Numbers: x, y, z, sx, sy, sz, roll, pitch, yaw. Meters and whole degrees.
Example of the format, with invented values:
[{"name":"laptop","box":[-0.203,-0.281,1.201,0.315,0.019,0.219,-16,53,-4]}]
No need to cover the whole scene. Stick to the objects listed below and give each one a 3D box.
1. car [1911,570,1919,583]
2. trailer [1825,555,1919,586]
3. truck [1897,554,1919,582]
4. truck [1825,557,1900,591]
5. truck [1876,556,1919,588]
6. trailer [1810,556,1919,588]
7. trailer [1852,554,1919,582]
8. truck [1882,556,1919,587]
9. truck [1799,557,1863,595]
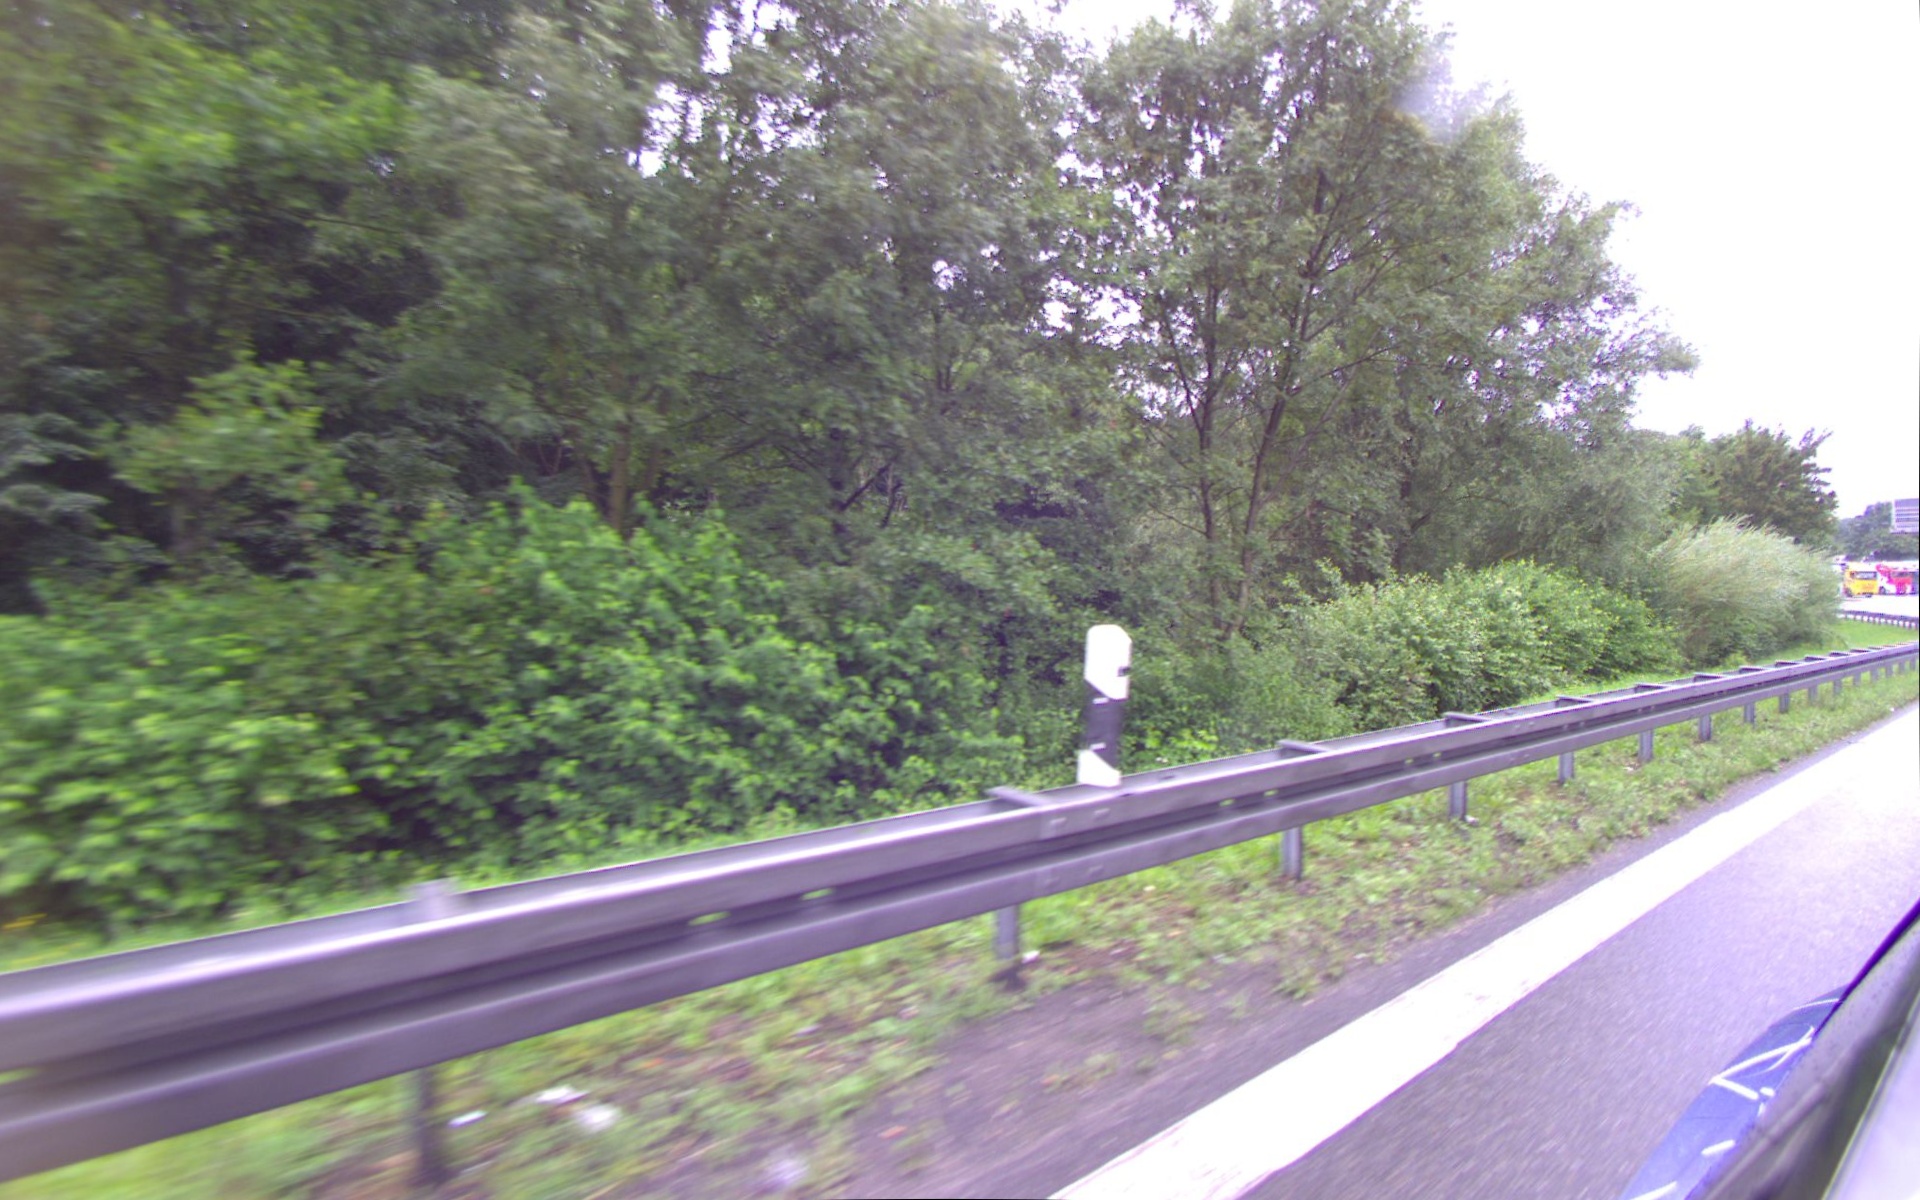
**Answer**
[{"name":"car","box":[136.250,-3.310,142.243,1.818,1.881,3.991,-1,1,9]},{"name":"trailer","box":[124.164,-4.008,137.337,2.826,3.967,13.918,0,2,6]},{"name":"truck","box":[141.089,-4.682,146.922,3.190,4.141,7.928,0,2,6]},{"name":"truck","box":[107.839,-3.128,121.120,2.795,3.967,8.110,0,2,10]},{"name":"truck","box":[119.543,-3.523,127.927,3.190,3.967,5.015,0,2,6]},{"name":"trailer","box":[120.293,-3.800,134.623,3.190,3.967,14.812,0,2,6]},{"name":"trailer","box":[141.732,-4.881,152.913,3.190,4.141,13.516,0,2,6]},{"name":"truck","box":[123.483,-3.723,130.954,2.849,3.967,6.547,0,2,6]},{"name":"truck","box":[94.076,-2.647,109.395,2.784,3.961,5.400,0,1,8]}]
